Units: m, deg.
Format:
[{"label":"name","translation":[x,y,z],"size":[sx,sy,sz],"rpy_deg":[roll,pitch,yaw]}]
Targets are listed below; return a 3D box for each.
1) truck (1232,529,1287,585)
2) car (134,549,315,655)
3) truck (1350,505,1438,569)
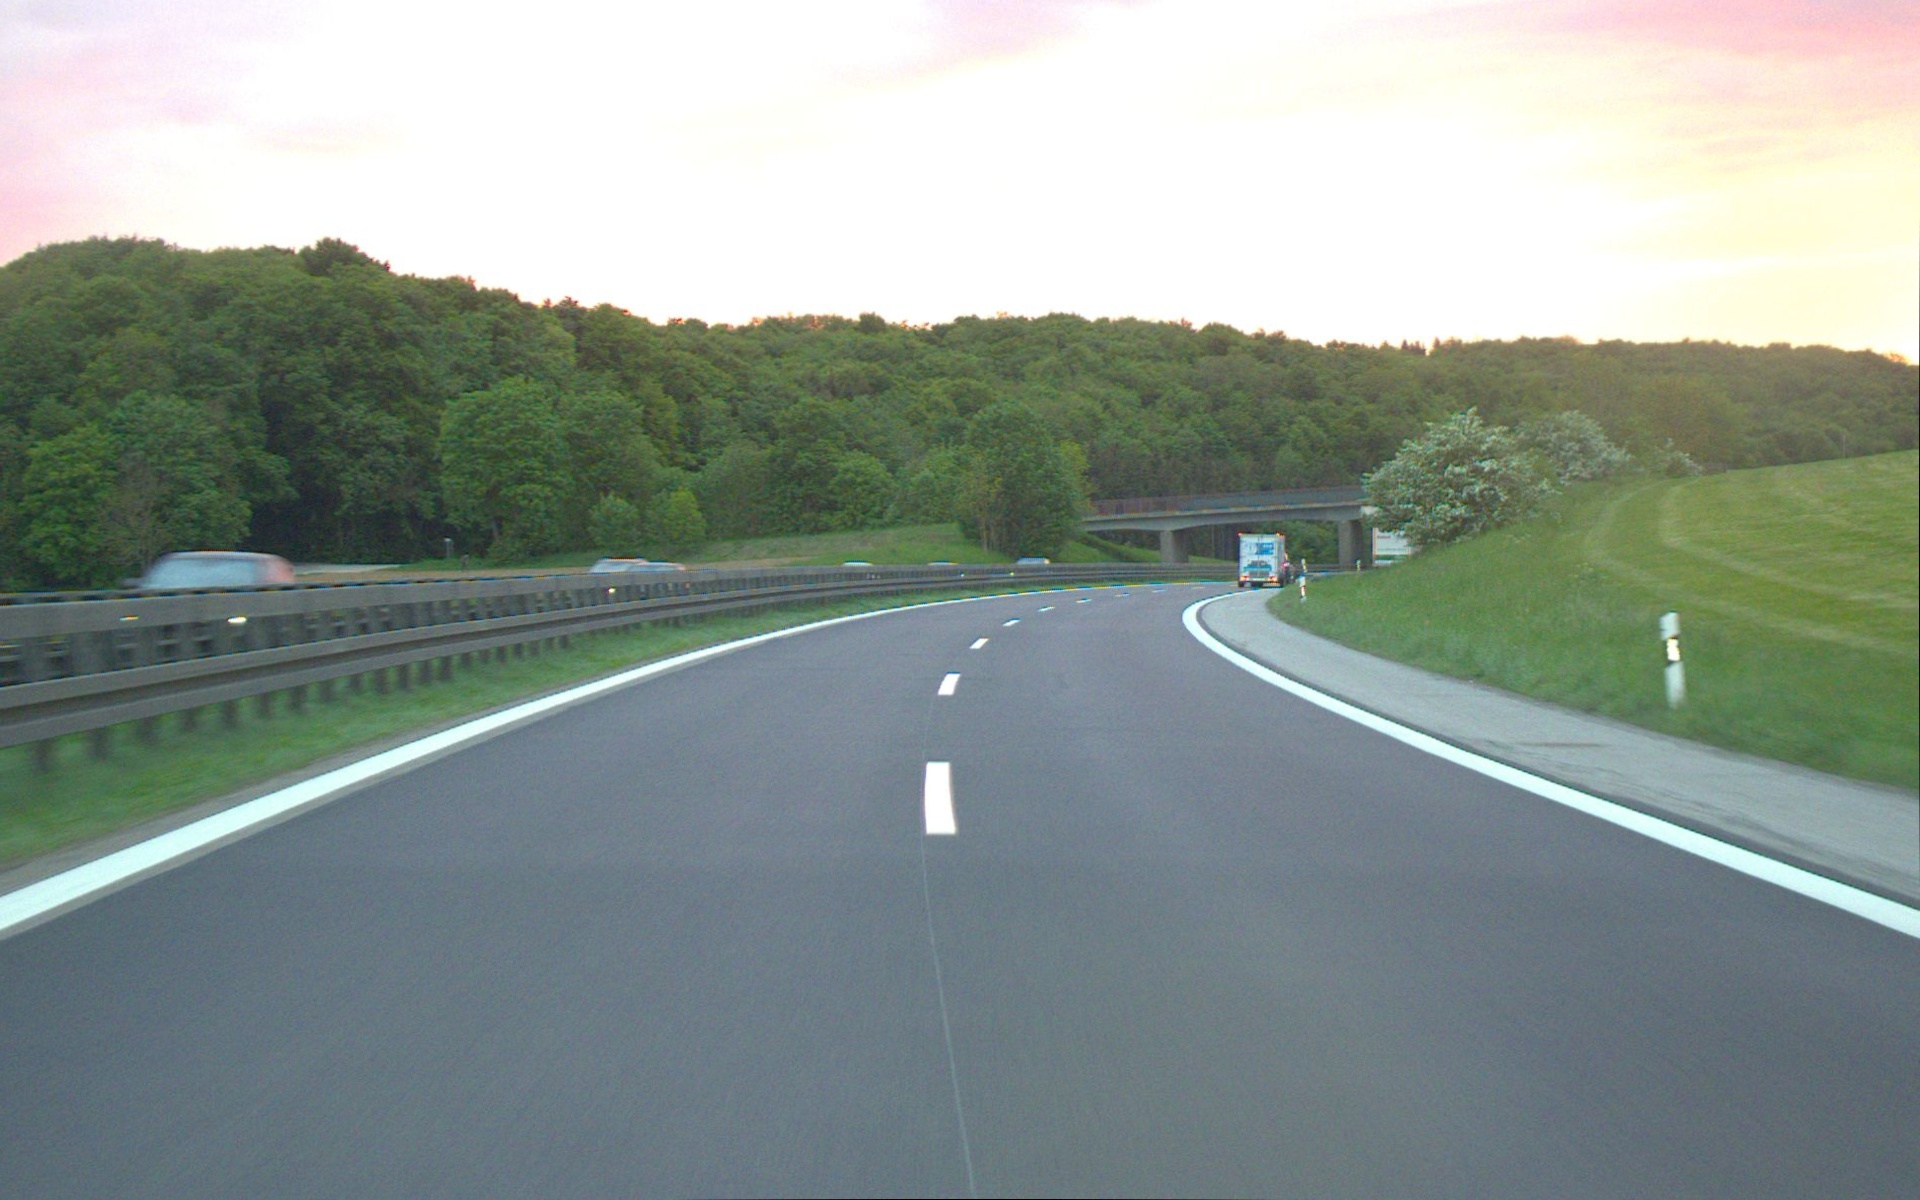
[{"label":"truck","translation":[14.887,-2.156,170.639],"size":[2.277,2.656,5.234],"rpy_deg":[-2,1,9]},{"label":"car","translation":[-10.450,-0.008,49.080],"size":[1.605,1.388,4.247],"rpy_deg":[-2,1,0]},{"label":"truck","translation":[30.338,-4.333,239.815],"size":[3.961,4.272,14.312],"rpy_deg":[-1,0,16]}]
